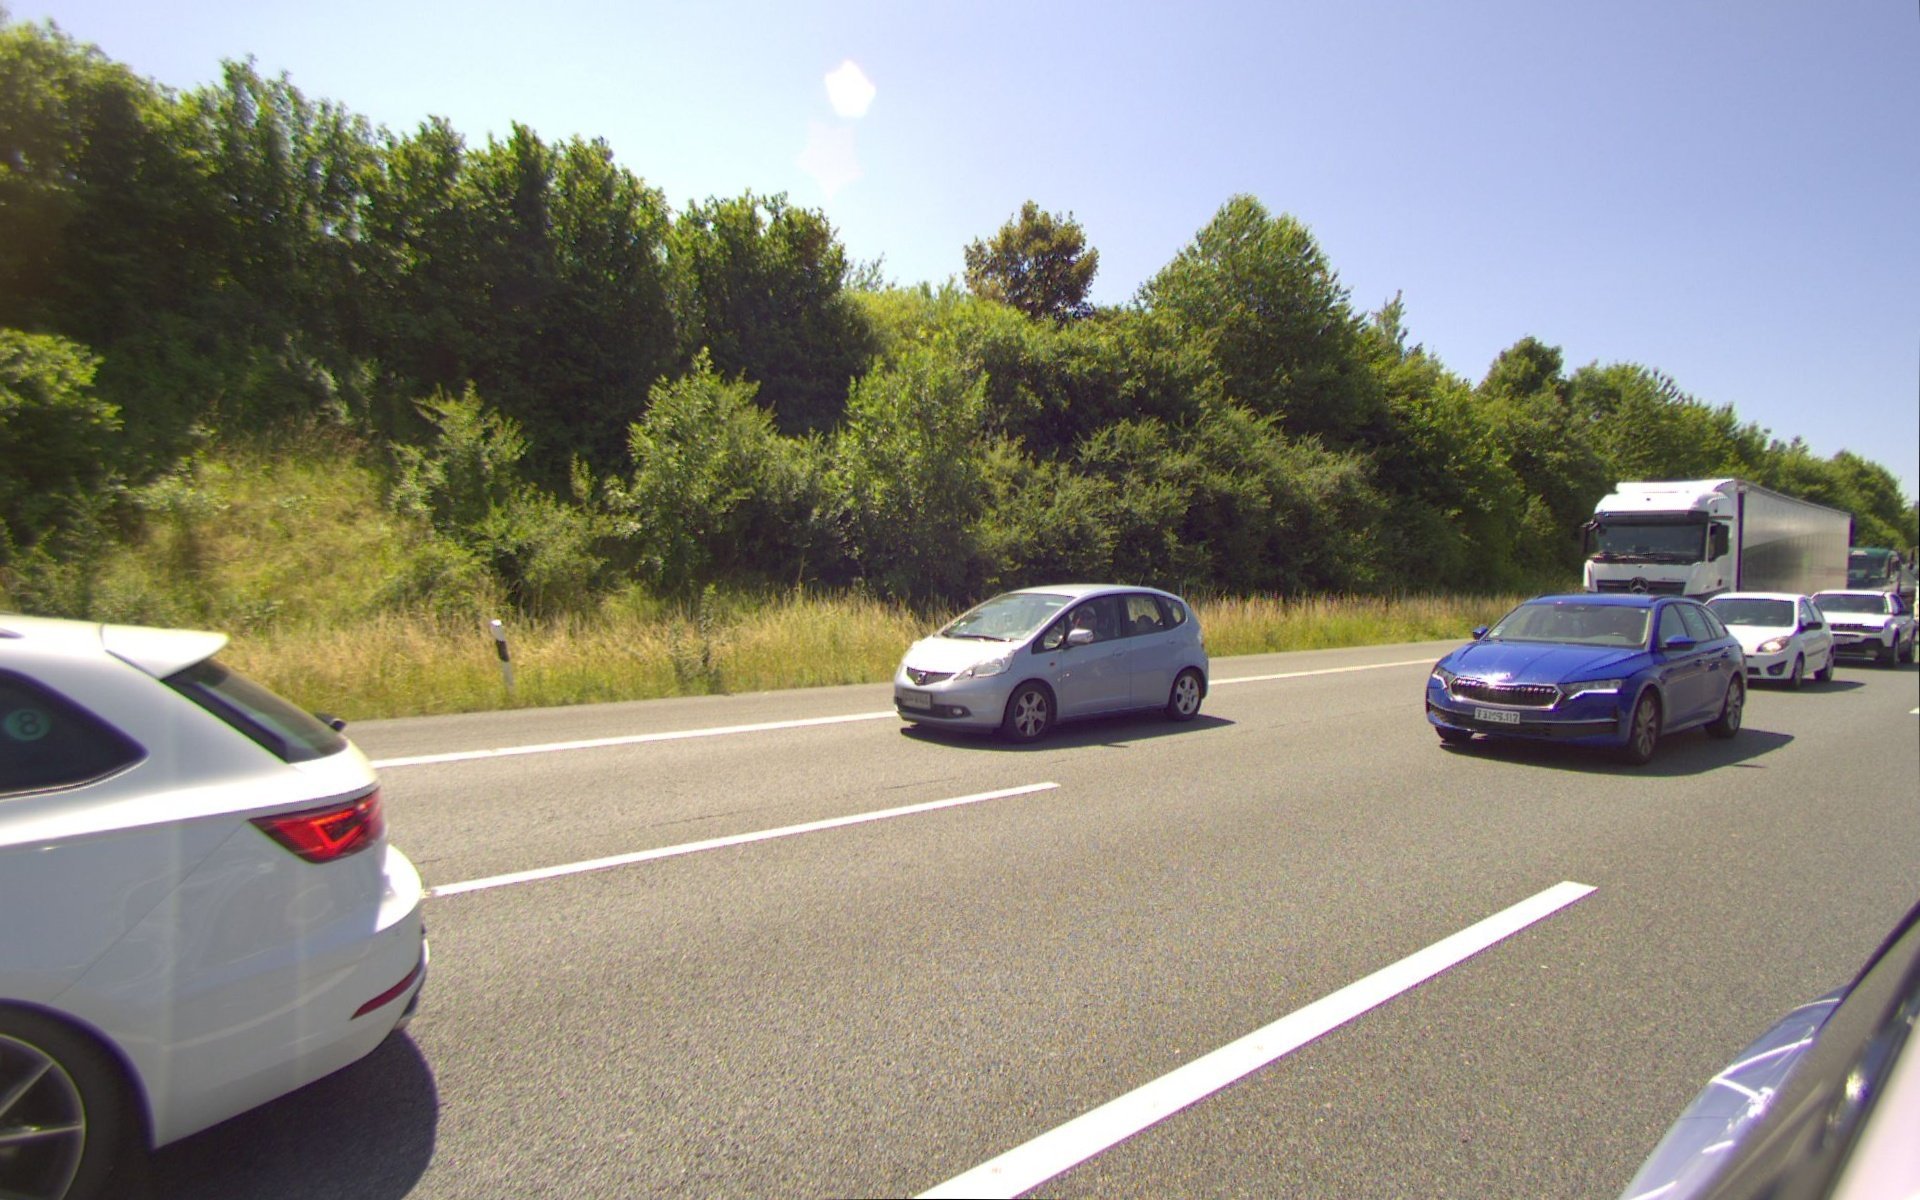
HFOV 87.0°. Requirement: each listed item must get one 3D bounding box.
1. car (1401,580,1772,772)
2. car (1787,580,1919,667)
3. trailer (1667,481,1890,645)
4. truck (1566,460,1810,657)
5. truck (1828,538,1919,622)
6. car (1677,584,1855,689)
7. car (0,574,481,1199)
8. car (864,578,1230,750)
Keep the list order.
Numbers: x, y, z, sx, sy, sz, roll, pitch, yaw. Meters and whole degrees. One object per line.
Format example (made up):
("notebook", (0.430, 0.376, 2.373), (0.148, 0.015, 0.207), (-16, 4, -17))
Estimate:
("car", (6.357, 0.558, 10.054), (4.491, 1.434, 1.780), (-1, 3, -40))
("car", (18.864, 0.415, 21.139), (3.816, 1.577, 1.748), (-1, 3, -40))
("trailer", (25.221, -1.052, 30.838), (11.858, 4.208, 2.880), (-1, 1, -39))
("truck", (18.421, -0.958, 25.357), (8.322, 4.208, 2.880), (-1, 1, -39))
("truck", (37.265, -0.821, 40.922), (5.573, 3.185, 2.299), (-1, 1, -39))
("car", (13.196, 0.498, 16.502), (3.744, 1.451, 1.608), (-1, 3, -41))
("car", (-3.390, 0.690, 1.875), (4.237, 1.461, 1.751), (-1, 2, -40))
("car", (1.035, 0.532, 10.801), (3.853, 1.479, 1.665), (-1, 2, -41))
